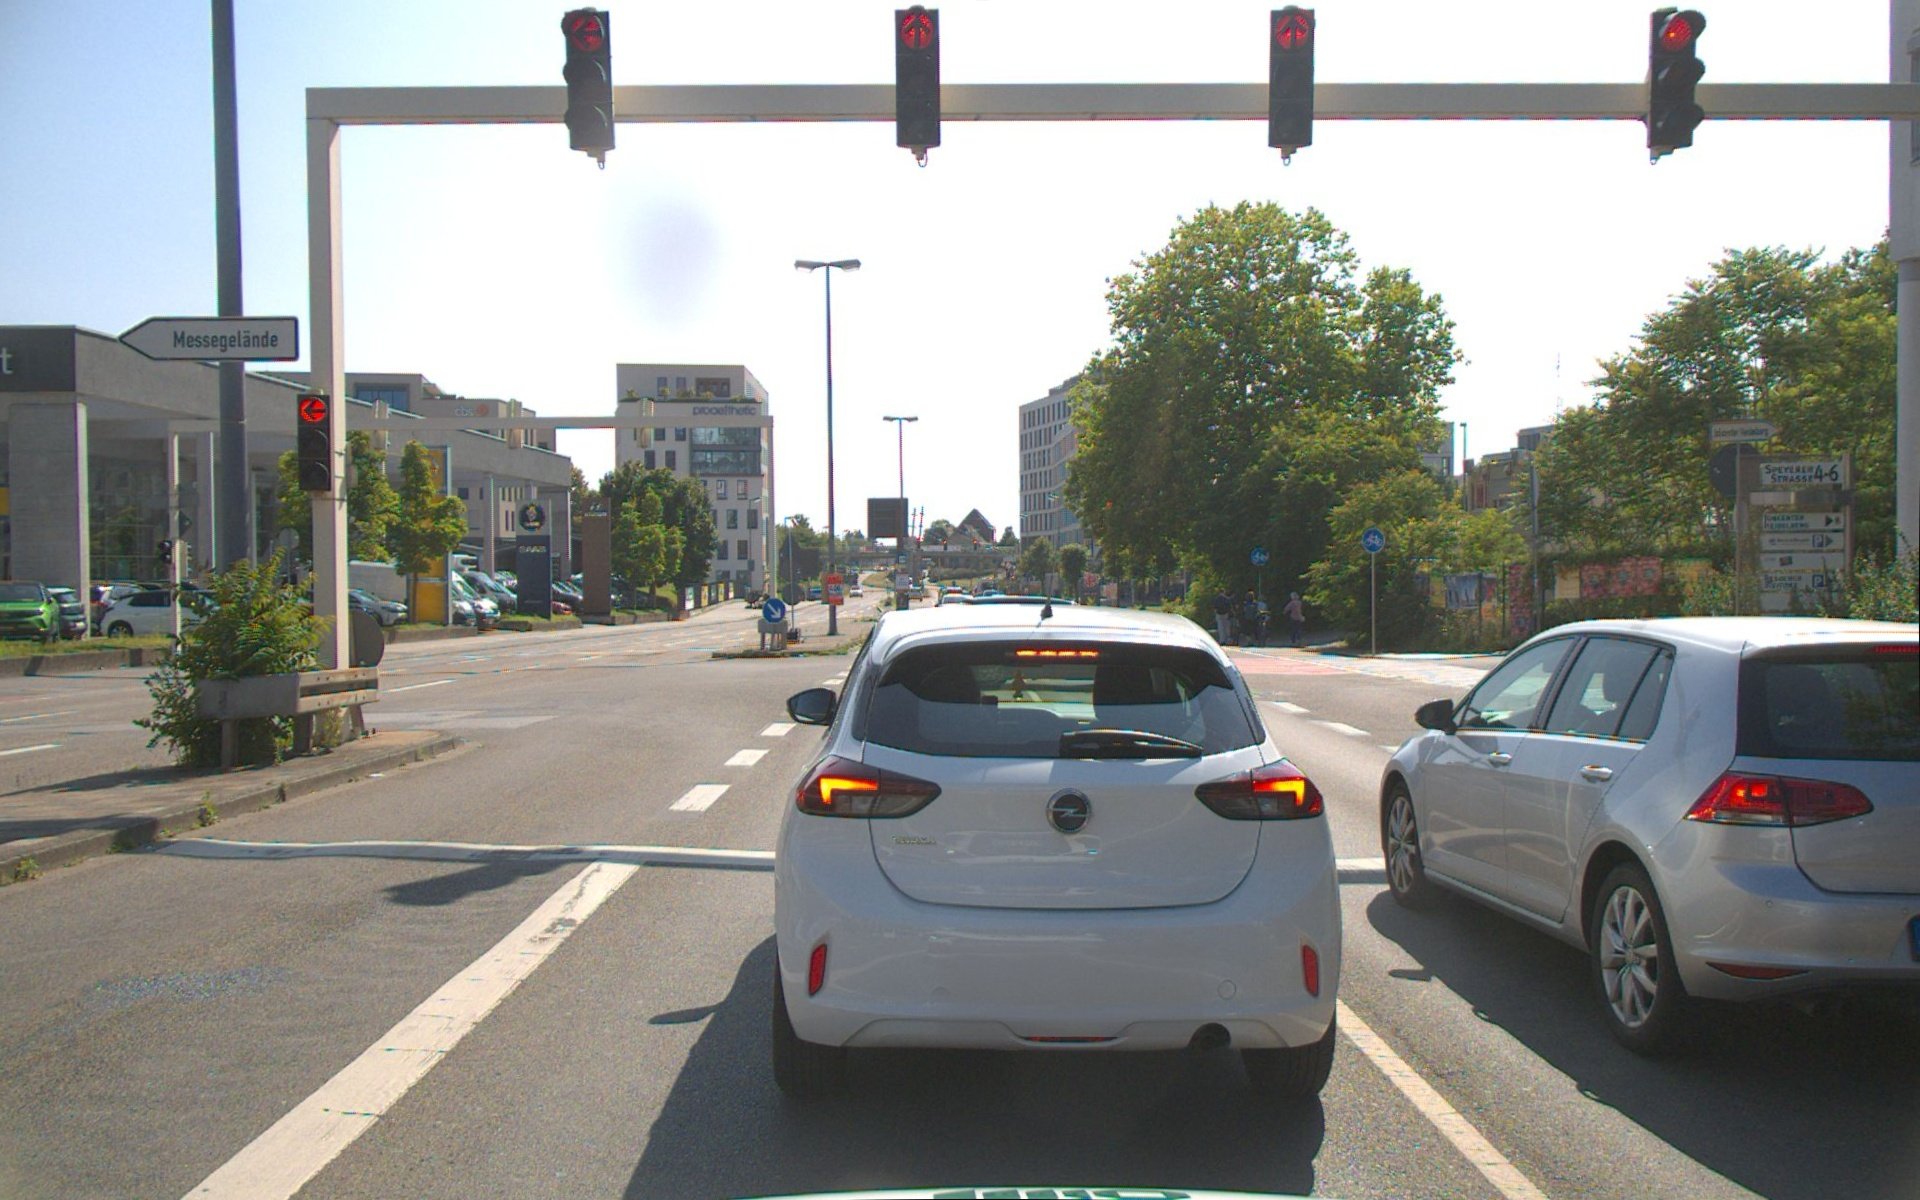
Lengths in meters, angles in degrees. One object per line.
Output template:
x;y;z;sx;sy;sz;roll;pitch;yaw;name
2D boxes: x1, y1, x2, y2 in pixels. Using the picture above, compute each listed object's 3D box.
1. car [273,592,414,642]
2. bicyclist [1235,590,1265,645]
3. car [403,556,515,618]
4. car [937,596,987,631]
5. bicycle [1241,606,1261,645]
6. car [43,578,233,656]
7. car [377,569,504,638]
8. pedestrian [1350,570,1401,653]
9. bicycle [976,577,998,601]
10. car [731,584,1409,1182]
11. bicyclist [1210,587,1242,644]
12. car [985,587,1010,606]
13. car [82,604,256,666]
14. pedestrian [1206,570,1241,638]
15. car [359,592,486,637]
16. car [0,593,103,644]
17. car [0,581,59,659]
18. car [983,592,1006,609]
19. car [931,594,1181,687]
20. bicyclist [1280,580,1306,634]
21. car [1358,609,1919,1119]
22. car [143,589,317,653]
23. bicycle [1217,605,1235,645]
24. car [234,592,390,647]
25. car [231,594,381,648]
-22.008;0.586;59.165;4.270;1.726;1.999;-1;0;-4;car
8.911;0.530;50.778;0.675;1.672;0.775;0;0;-9;bicyclist
-21.981;-0.579;72.699;4.265;2.646;2.001;-1;0;4;car
0.080;0.537;67.533;1.953;1.355;3.999;1;-1;0;car
8.936;0.774;50.773;0.366;1.167;1.034;1;-1;-3;bicycle
-20.726;0.405;41.830;3.793;1.870;1.999;-1;0;-4;car
-21.135;0.142;67.399;4.401;2.731;2.130;-1;0;8;car
10.472;0.278;41.744;1.006;2.049;1.038;-1;0;-1;pedestrian
2.540;-1.006;155.488;1.953;2.195;3.999;-1;0;-1;bicycle
0.254;0.719;6.276;1.743;1.520;3.999;-1;0;-1;car
8.388;0.481;52.224;0.861;1.803;0.863;0;0;-1;bicyclist
2.918;-0.289;130.419;1.769;1.410;3.999;1;-1;-1;car
-21.884;0.936;45.887;3.912;1.627;1.997;-1;0;-8;car
8.905;0.130;55.942;1.006;2.278;1.038;0;0;-1;pedestrian
-21.064;0.559;64.951;4.265;1.726;2.001;-1;0;4;car
-26.261;0.539;45.515;4.276;1.290;1.996;-2;-1;-9;car
-22.557;0.497;38.935;1.887;1.764;3.250;-1;-1;-37;car
2.966;0.072;142.388;1.769;1.410;3.999;1;-1;-1;car
1.571;0.650;28.066;3.913;1.467;1.996;-1;0;-9;car
10.379;0.216;51.585;0.639;1.666;0.659;1;-1;-1;bicyclist
3.122;0.776;6.851;1.771;1.454;3.997;-1;0;-3;car
-21.385;0.591;48.612;4.211;1.796;1.999;-1;0;-4;car
8.398;0.771;52.224;0.365;1.238;1.153;1;0;-1;bicycle
-21.014;0.618;53.755;4.270;1.726;1.999;0;0;-3;car
-22.079;0.697;55.966;4.270;1.726;1.999;-1;0;-4;car
